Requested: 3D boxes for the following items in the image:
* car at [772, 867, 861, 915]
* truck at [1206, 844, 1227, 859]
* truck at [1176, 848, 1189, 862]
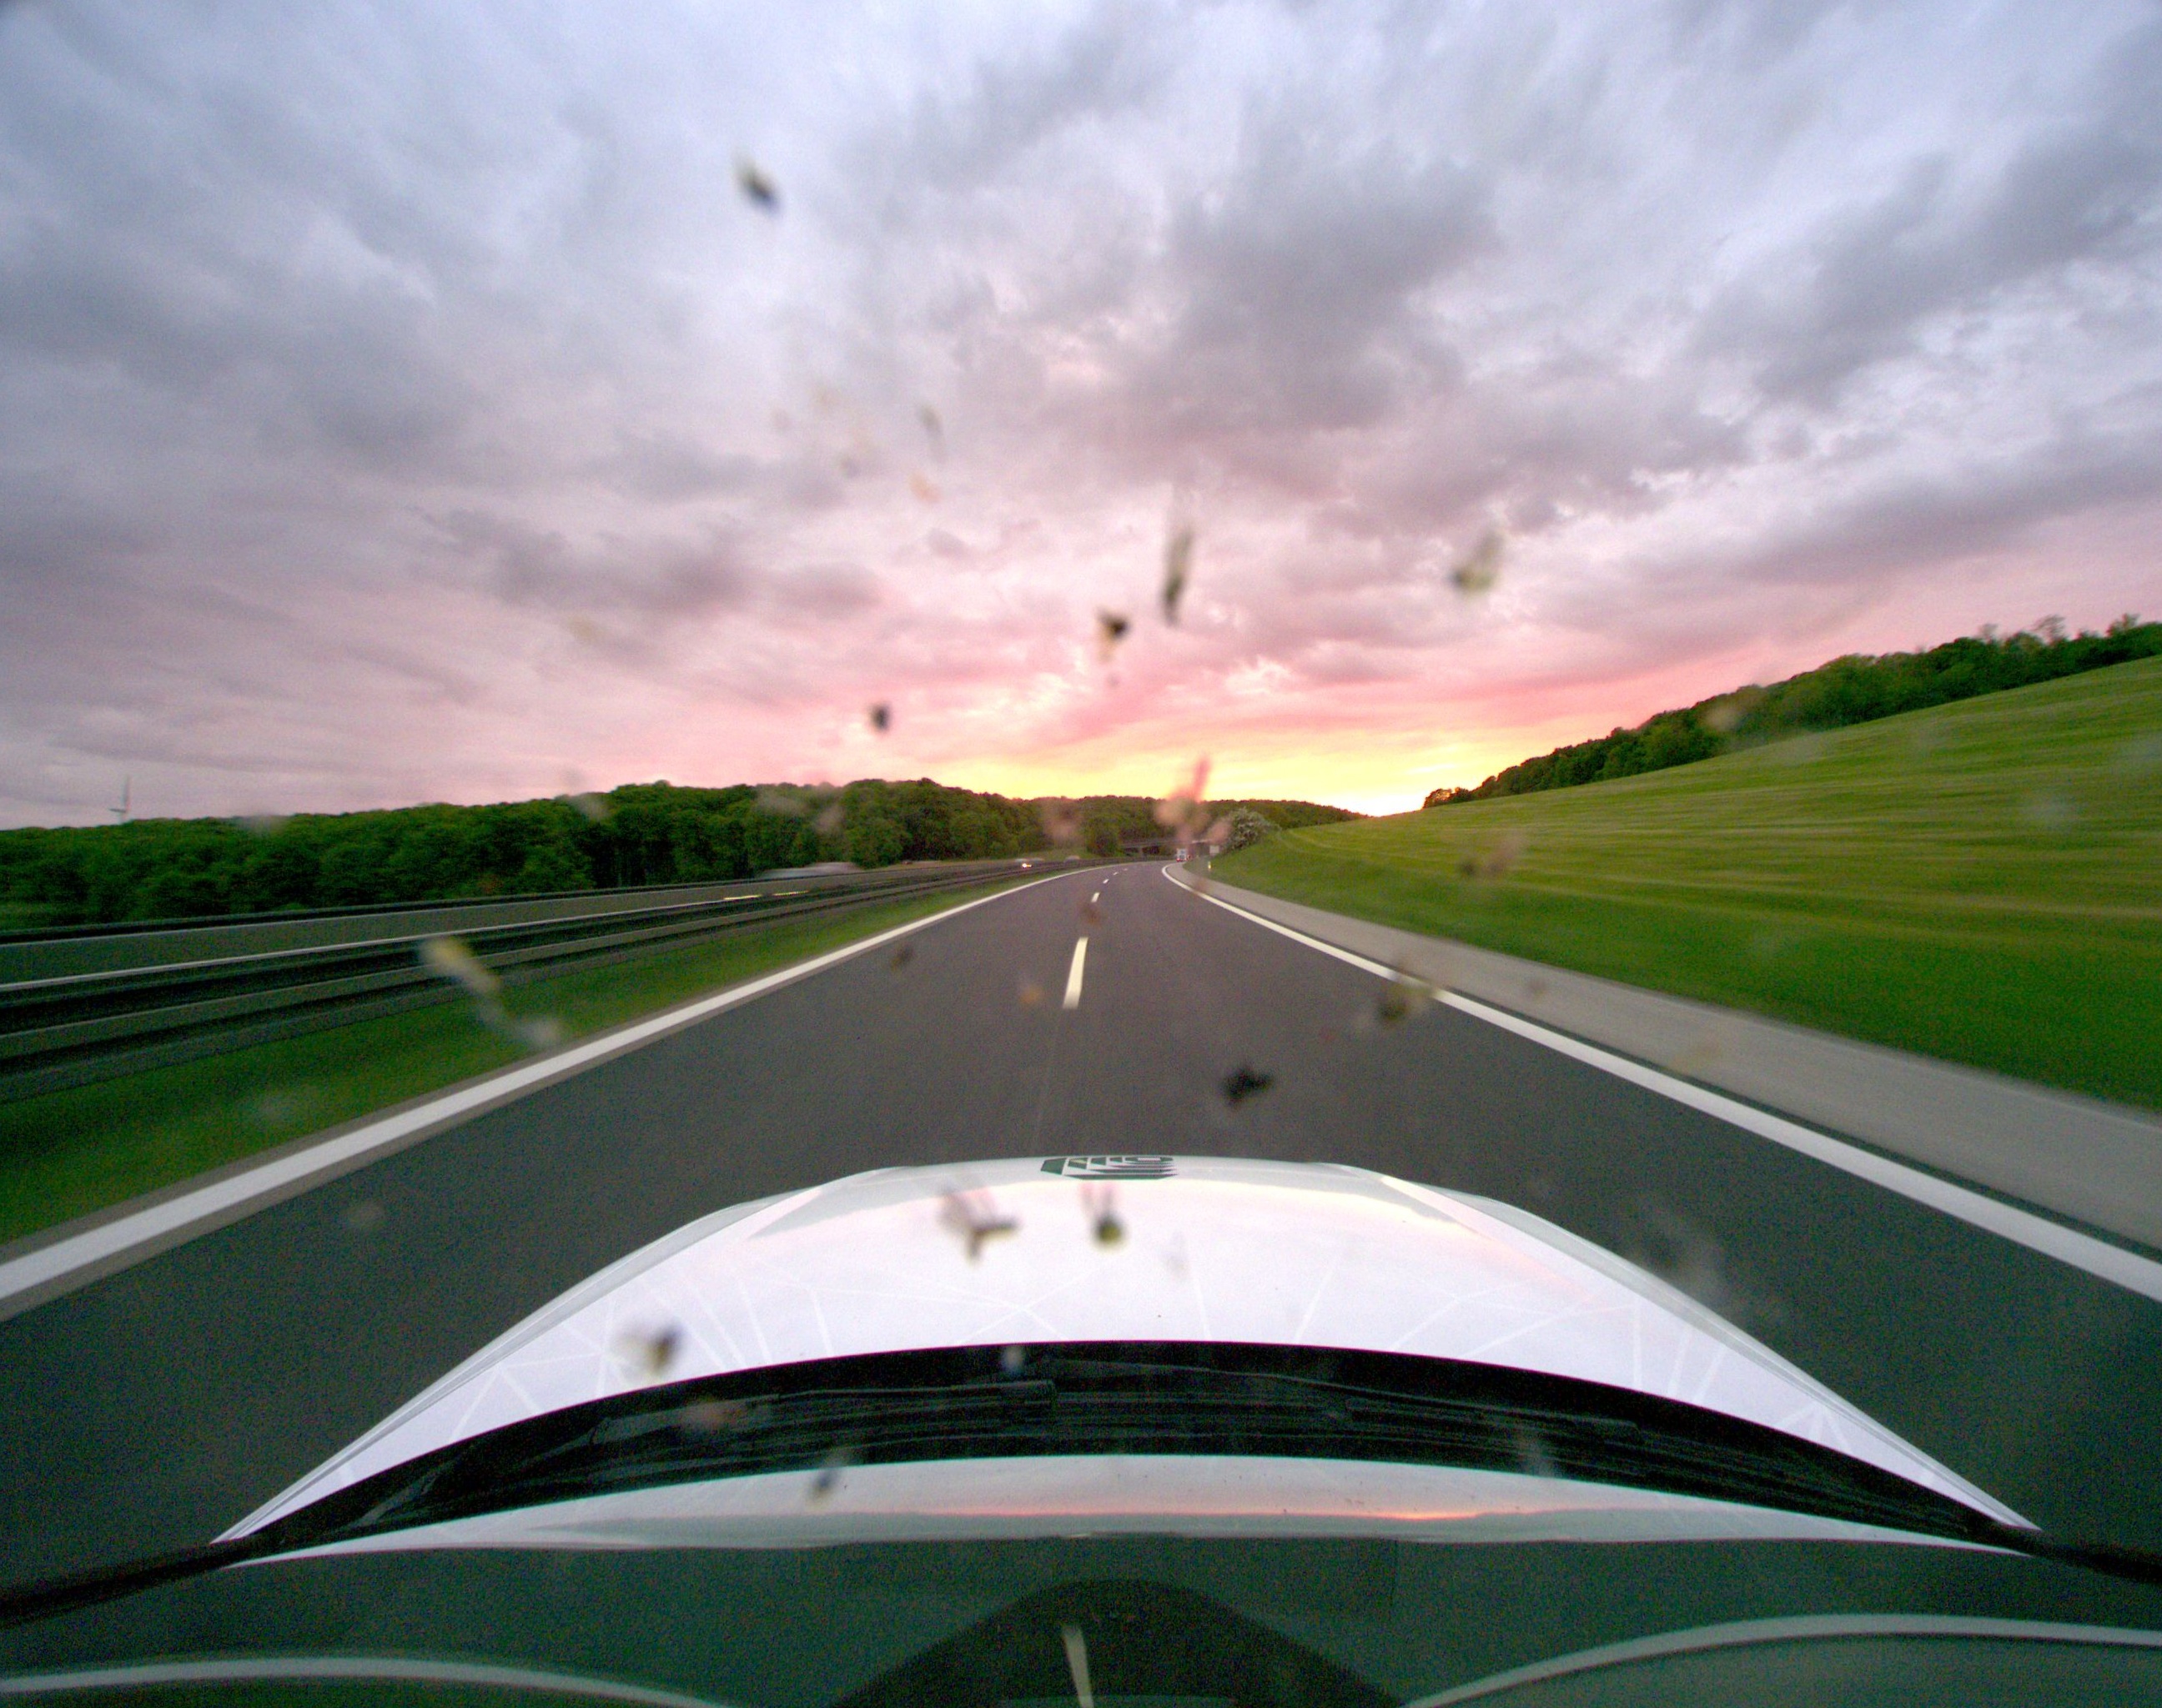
[{"bbox_3d":[-9.064,1.217,28.287,1.600,1.393,4.248,-3,0,1],"label":"car"},{"bbox_3d":[39.409,-0.672,236.791,3.926,4.287,14.389,-2,-1,18],"label":"truck"},{"bbox_3d":[20.939,0.224,168.145,2.262,2.665,5.250,-3,0,10],"label":"truck"}]
